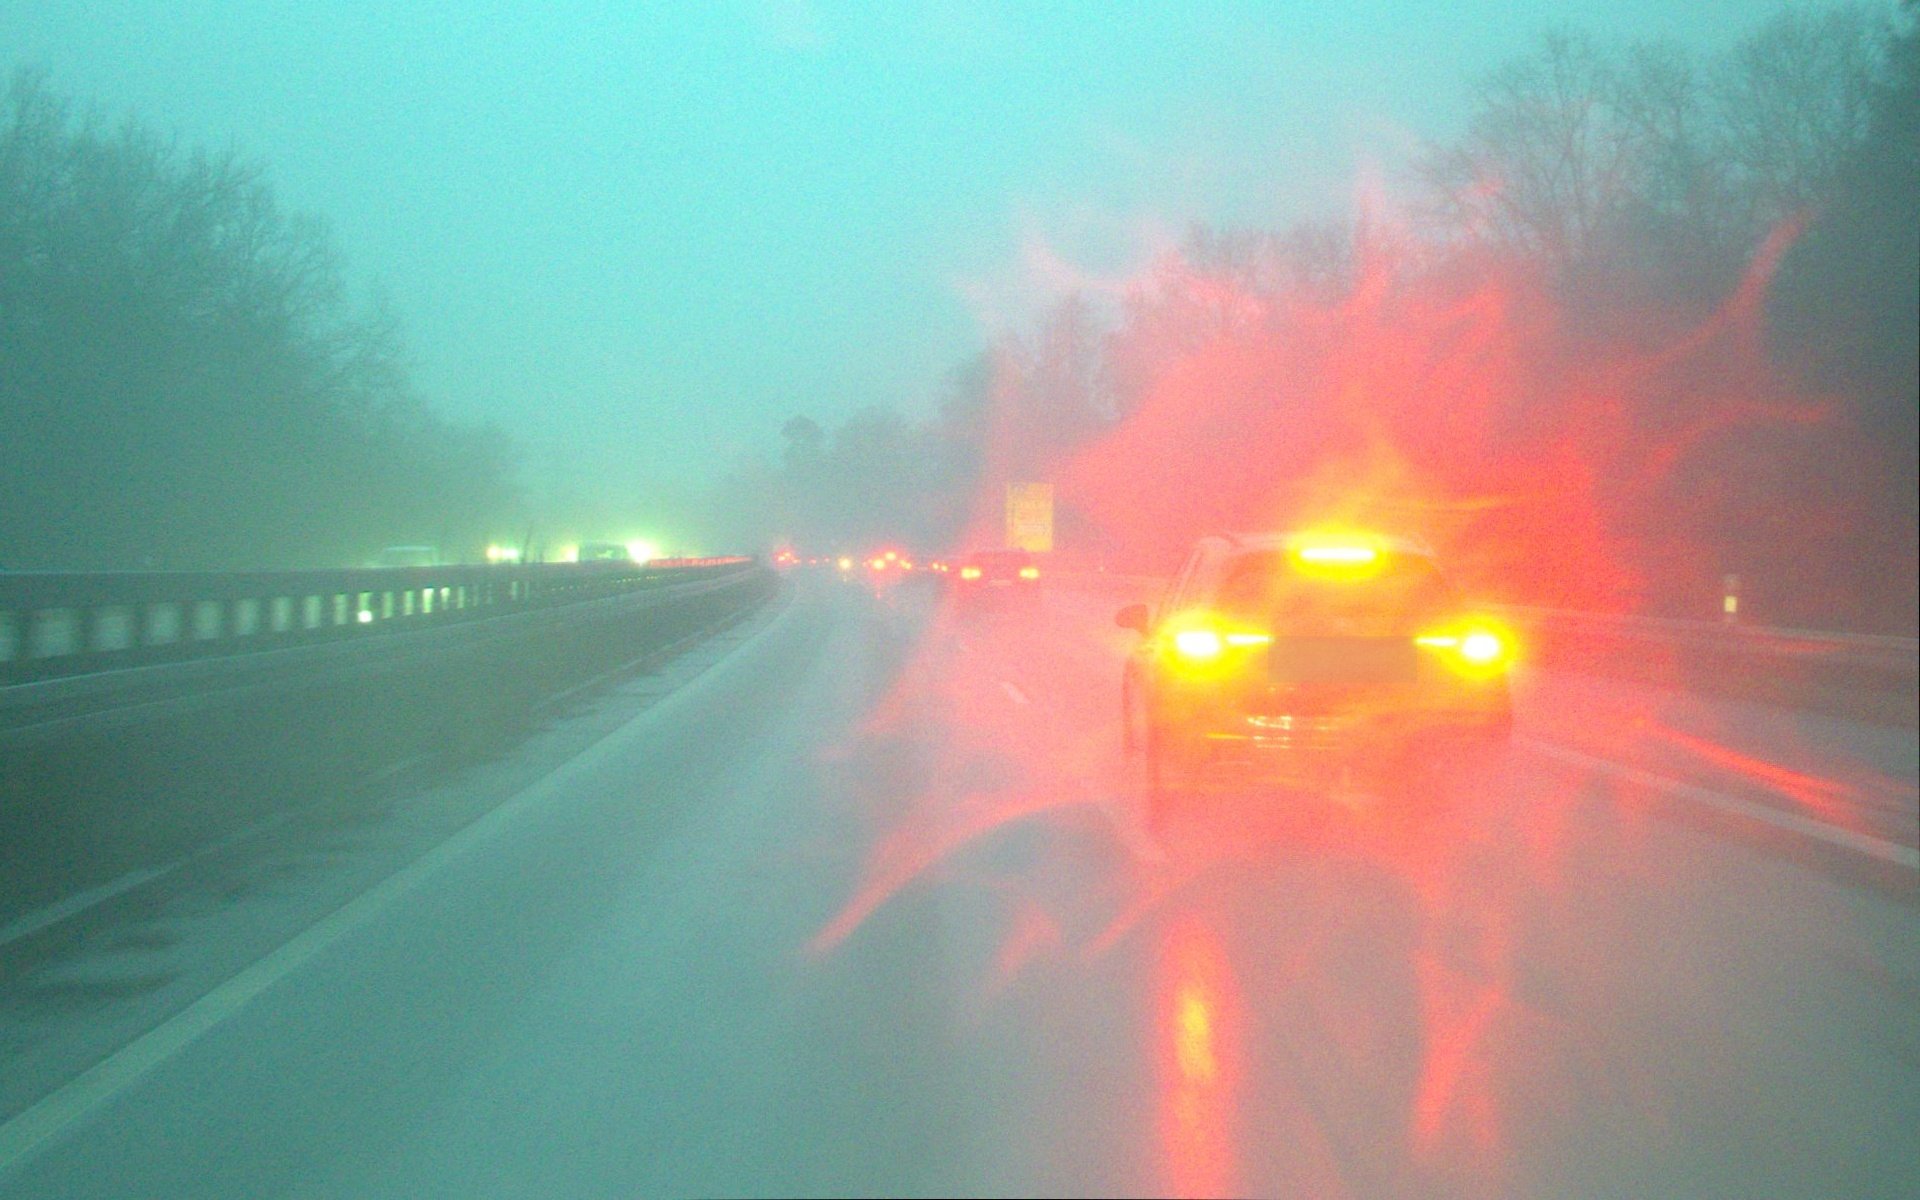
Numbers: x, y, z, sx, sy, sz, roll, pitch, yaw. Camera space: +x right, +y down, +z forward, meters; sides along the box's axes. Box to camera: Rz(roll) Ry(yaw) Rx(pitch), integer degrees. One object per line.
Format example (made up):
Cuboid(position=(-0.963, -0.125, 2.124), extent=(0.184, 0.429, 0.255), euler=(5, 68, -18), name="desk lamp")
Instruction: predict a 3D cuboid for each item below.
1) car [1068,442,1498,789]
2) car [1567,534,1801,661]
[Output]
Cuboid(position=(1.745, 0.067, 19.854), extent=(1.924, 1.785, 3.941), euler=(1, 0, -3), name="car")
Cuboid(position=(8.518, -0.043, 40.751), extent=(1.865, 1.414, 4.000), euler=(1, 0, -1), name="car")
